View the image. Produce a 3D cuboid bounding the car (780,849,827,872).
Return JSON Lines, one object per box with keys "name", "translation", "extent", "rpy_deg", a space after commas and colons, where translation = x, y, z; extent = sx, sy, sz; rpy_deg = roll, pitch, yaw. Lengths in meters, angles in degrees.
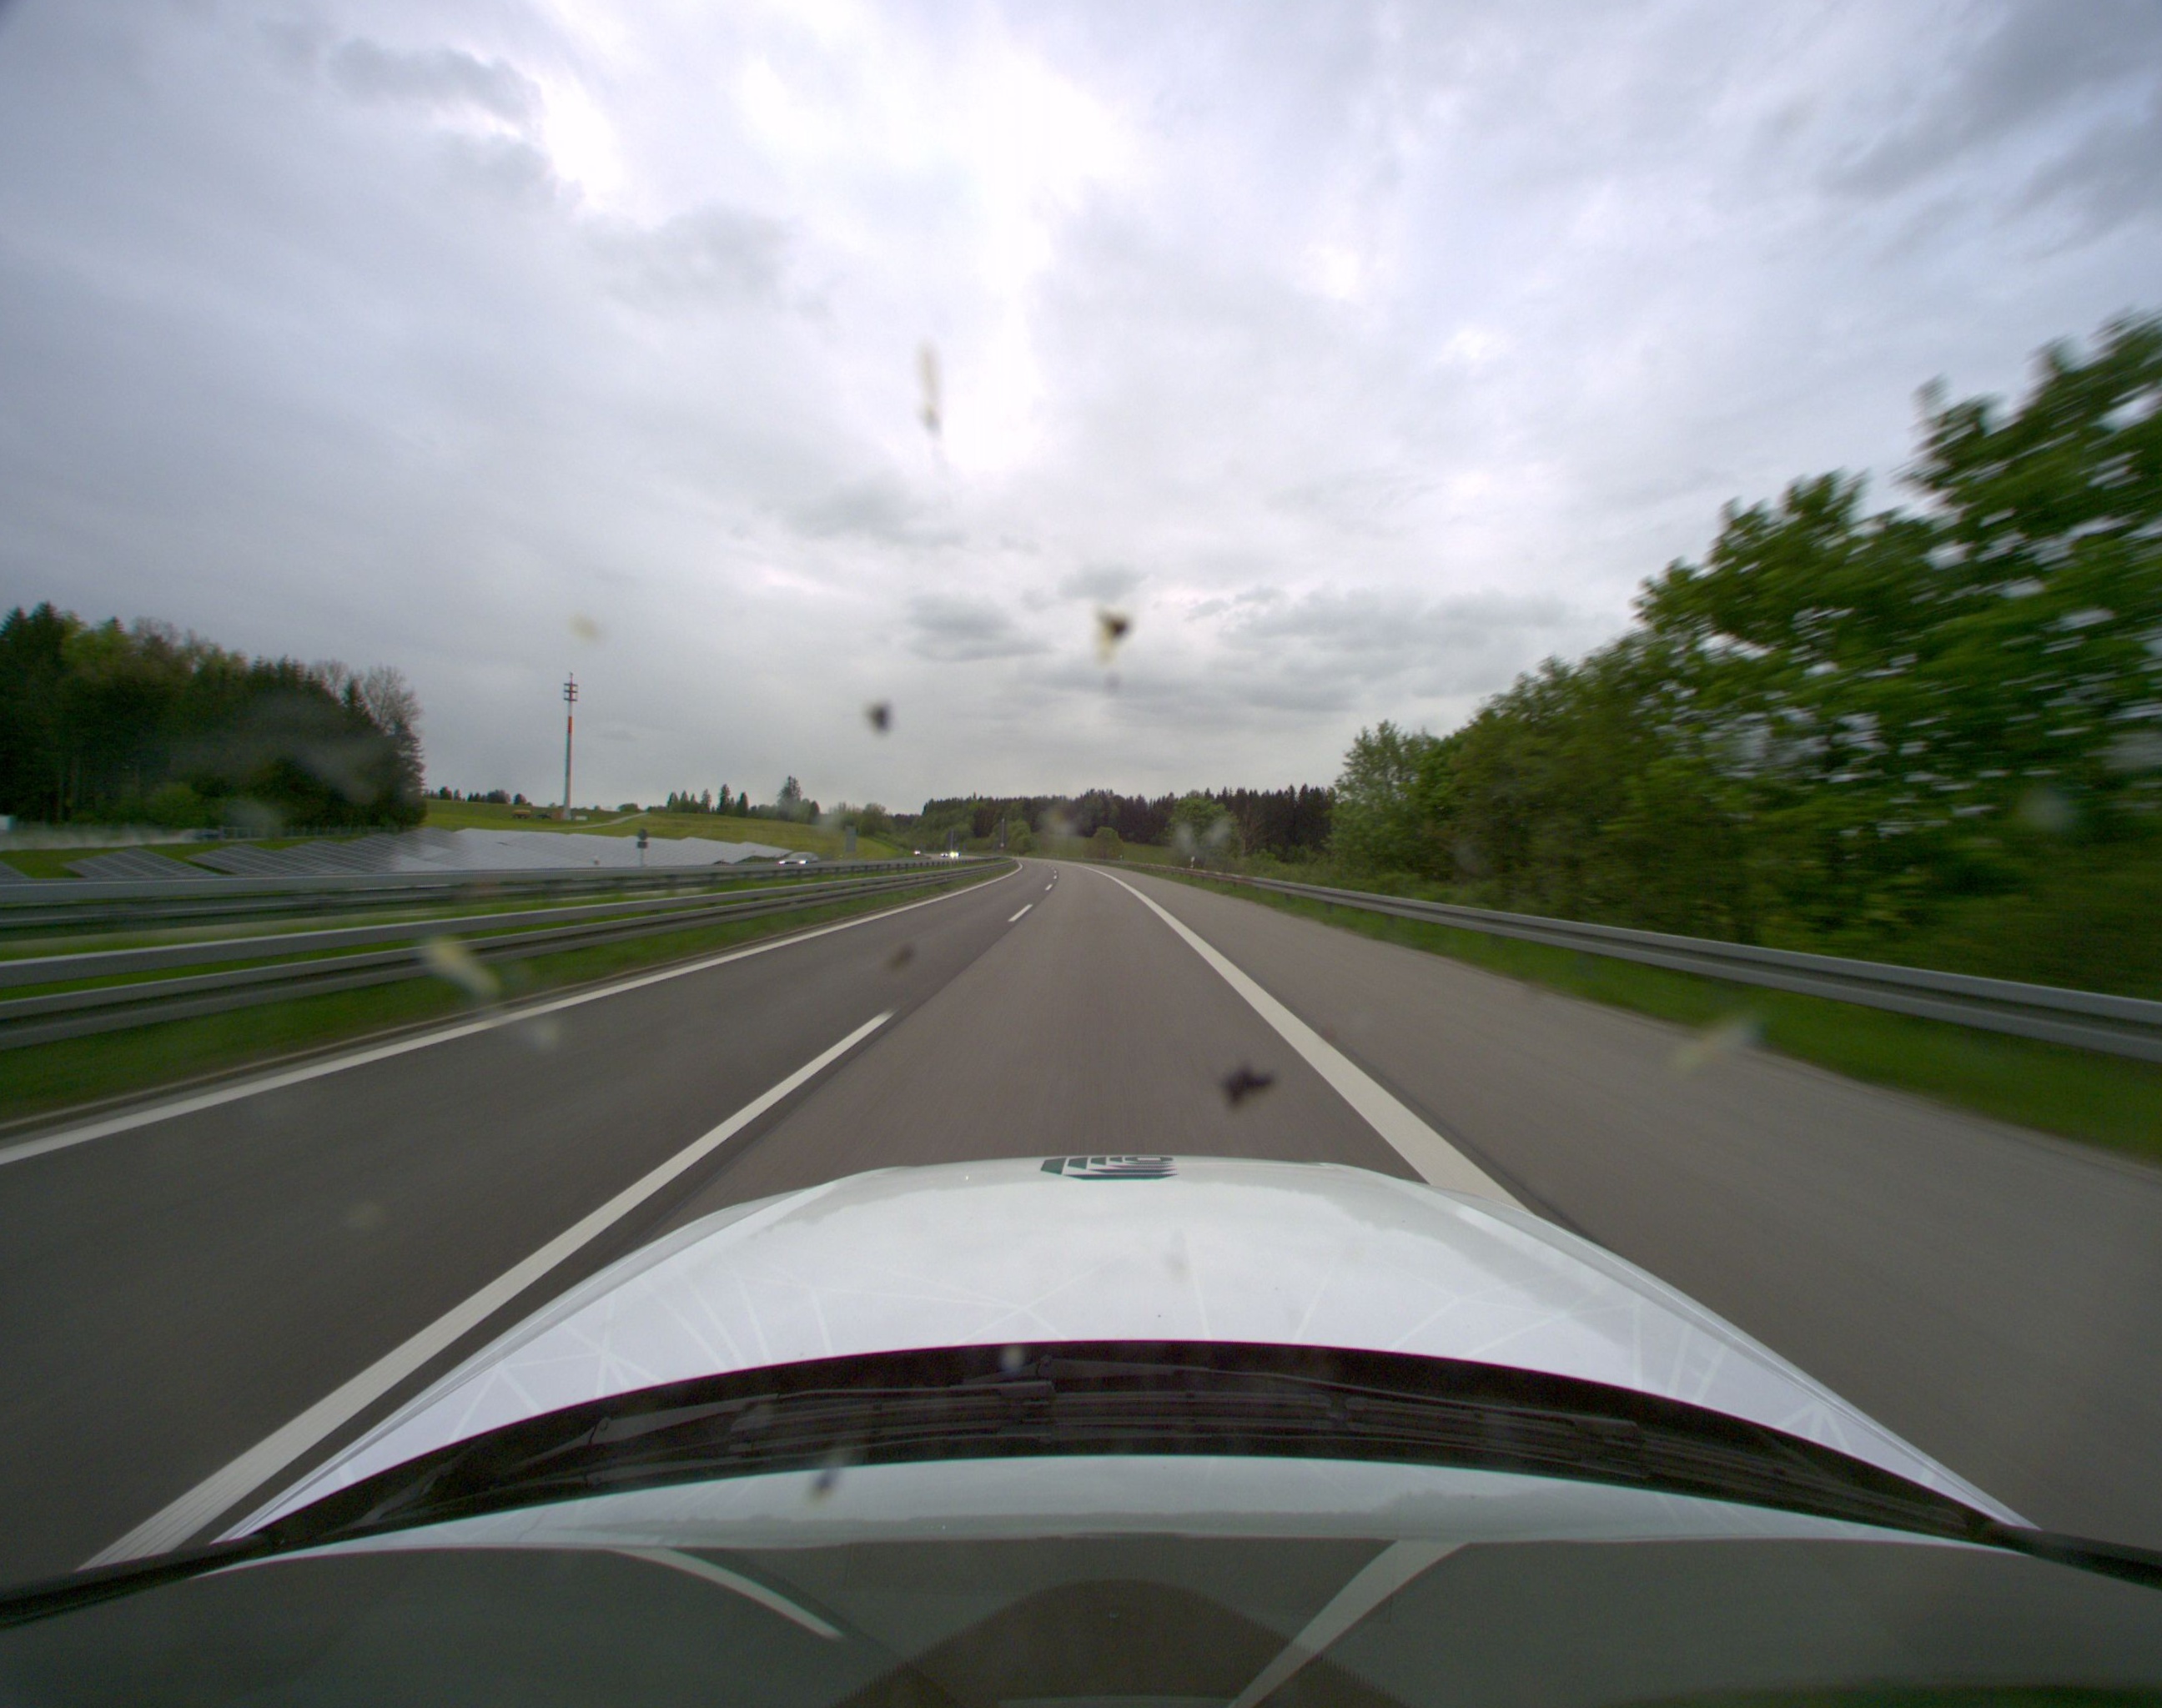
{"name": "car", "translation": [-19.881, 0.419, 58.507], "extent": [1.988, 1.498, 4.149], "rpy_deg": [2, 0, -1]}
